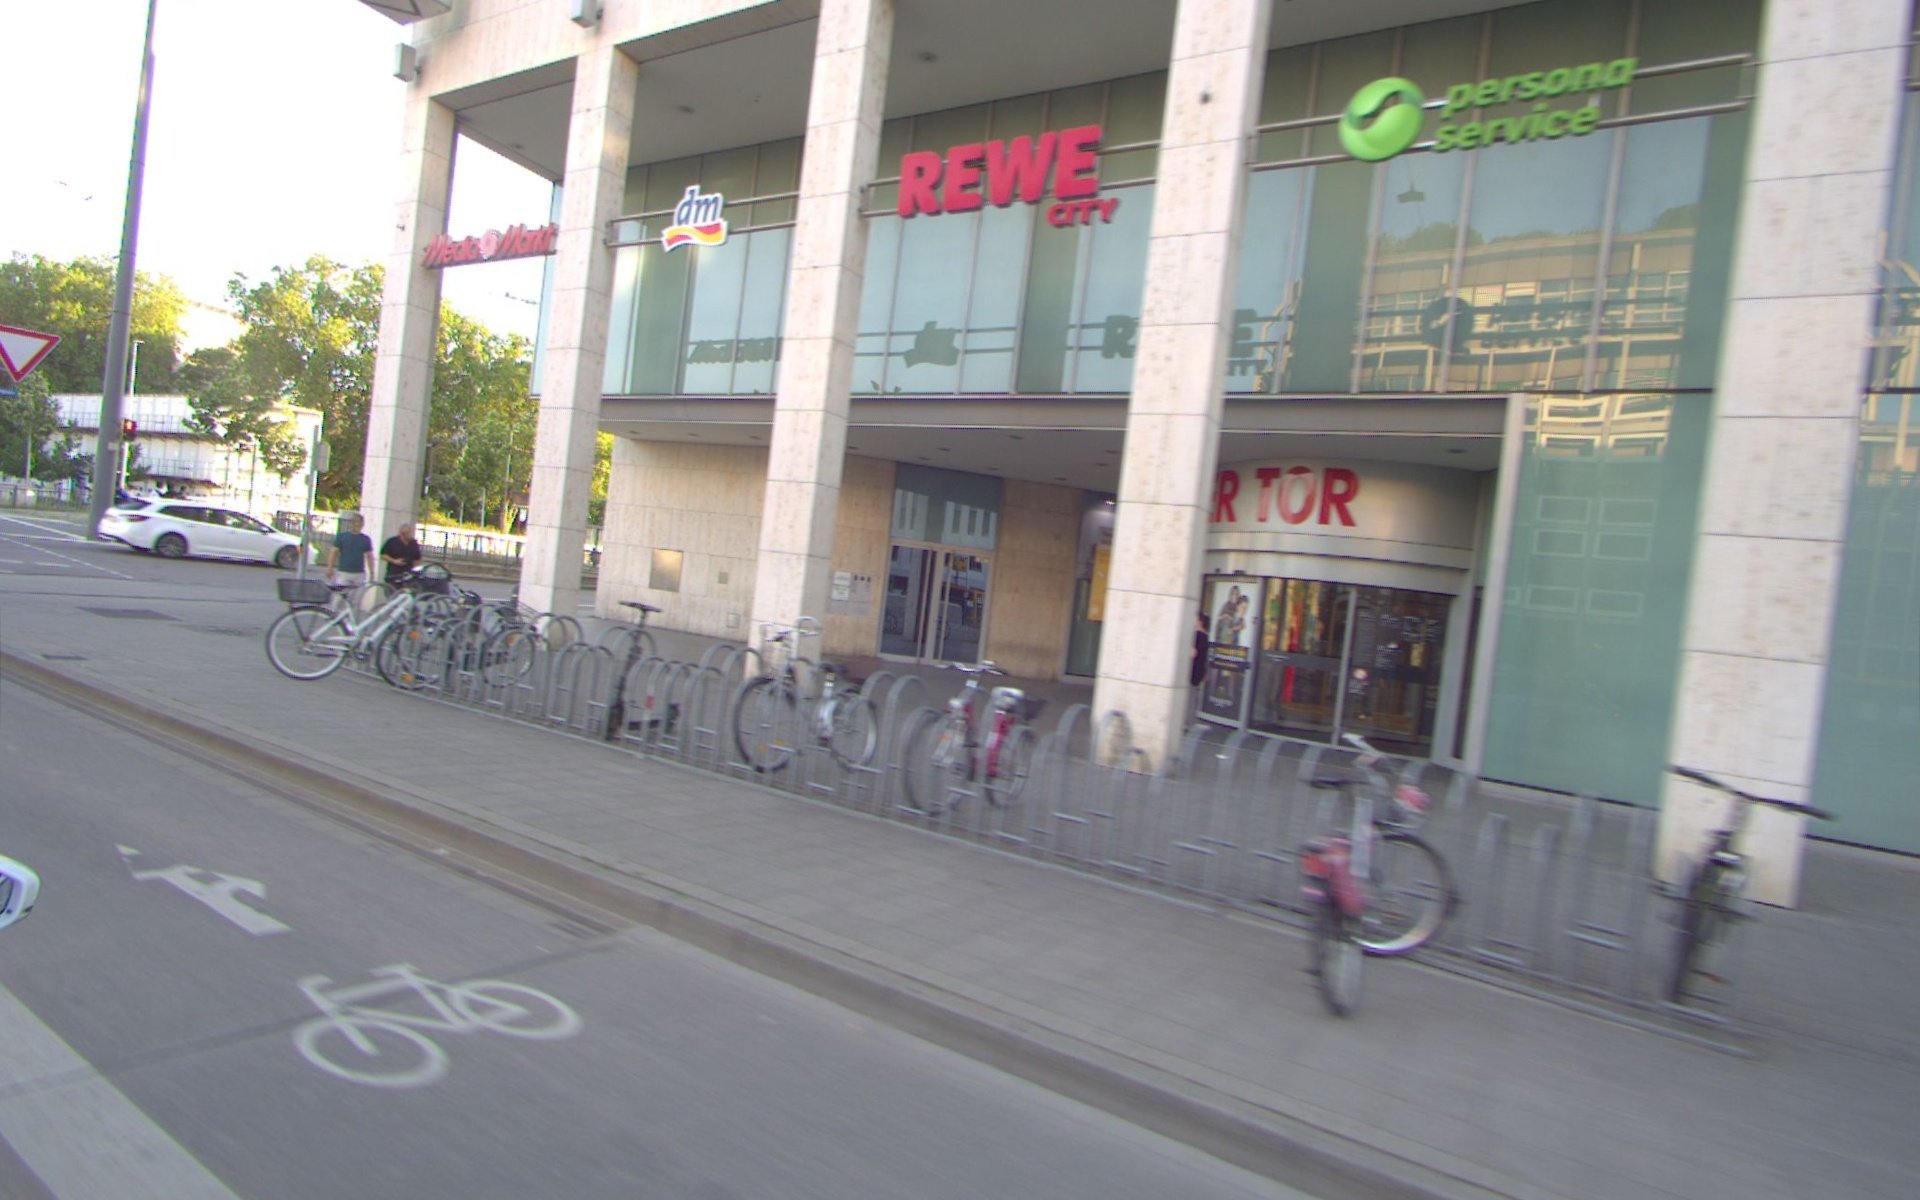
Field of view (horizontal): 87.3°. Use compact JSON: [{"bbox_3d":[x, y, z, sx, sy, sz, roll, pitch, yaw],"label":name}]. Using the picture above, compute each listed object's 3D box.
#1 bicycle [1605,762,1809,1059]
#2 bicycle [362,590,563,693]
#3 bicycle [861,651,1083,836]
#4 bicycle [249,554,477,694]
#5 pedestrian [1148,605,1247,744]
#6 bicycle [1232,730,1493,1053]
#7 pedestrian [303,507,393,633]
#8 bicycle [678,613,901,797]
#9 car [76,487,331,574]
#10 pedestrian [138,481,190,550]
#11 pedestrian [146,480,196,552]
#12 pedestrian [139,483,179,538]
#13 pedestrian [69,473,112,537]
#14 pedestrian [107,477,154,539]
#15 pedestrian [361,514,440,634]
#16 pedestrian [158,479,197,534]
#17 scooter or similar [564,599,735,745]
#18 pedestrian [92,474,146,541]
[{"bbox_3d":[3.766,1.426,5.055,0.592,1.112,1.817,8,-2,39],"label":"bicycle"},{"bbox_3d":[-5.210,0.460,10.678,0.508,0.948,1.869,7,0,30],"label":"bicycle"},{"bbox_3d":[0.155,1.037,7.420,0.561,1.126,1.873,8,-2,35],"label":"bicycle"},{"bbox_3d":[-5.969,0.269,10.140,1.811,1.227,0.563,7,1,-43],"label":"bicycle"},{"bbox_3d":[3.380,1.034,14.306,0.974,1.800,0.861,8,3,31],"label":"pedestrian"},{"bbox_3d":[1.944,1.205,4.673,0.562,1.061,1.898,8,1,36],"label":"bicycle"},{"bbox_3d":[-9.282,-0.446,15.263,0.728,1.801,0.860,8,4,32],"label":"pedestrian"},{"bbox_3d":[-1.338,0.820,8.305,0.662,1.276,1.869,7,1,30],"label":"bicycle"},{"bbox_3d":[-19.527,-1.750,26.215,2.092,1.514,4.802,7,0,31],"label":"car"},{"bbox_3d":[-23.401,-2.481,29.572,0.677,1.863,0.893,8,1,34],"label":"pedestrian"},{"bbox_3d":[-21.873,-2.327,27.901,0.886,1.854,0.682,6,1,-32],"label":"pedestrian"},{"bbox_3d":[-28.065,-3.132,35.248,0.824,1.752,0.687,7,1,27],"label":"pedestrian"},{"bbox_3d":[-25.553,-2.790,29.559,0.882,1.752,0.685,8,2,38],"label":"pedestrian"},{"bbox_3d":[-25.172,-2.781,30.538,0.677,1.752,0.892,6,1,-17],"label":"pedestrian"},{"bbox_3d":[-8.868,-0.401,15.962,0.728,1.801,0.756,8,4,32],"label":"pedestrian"},{"bbox_3d":[-27.293,-3.255,35.096,0.824,1.752,0.686,8,1,29],"label":"pedestrian"},{"bbox_3d":[-2.814,0.659,9.217,0.662,1.174,1.278,7,0,30],"label":"scooter or similar"},{"bbox_3d":[-24.161,-2.651,28.901,0.676,1.752,0.894,8,1,31],"label":"pedestrian"}]
